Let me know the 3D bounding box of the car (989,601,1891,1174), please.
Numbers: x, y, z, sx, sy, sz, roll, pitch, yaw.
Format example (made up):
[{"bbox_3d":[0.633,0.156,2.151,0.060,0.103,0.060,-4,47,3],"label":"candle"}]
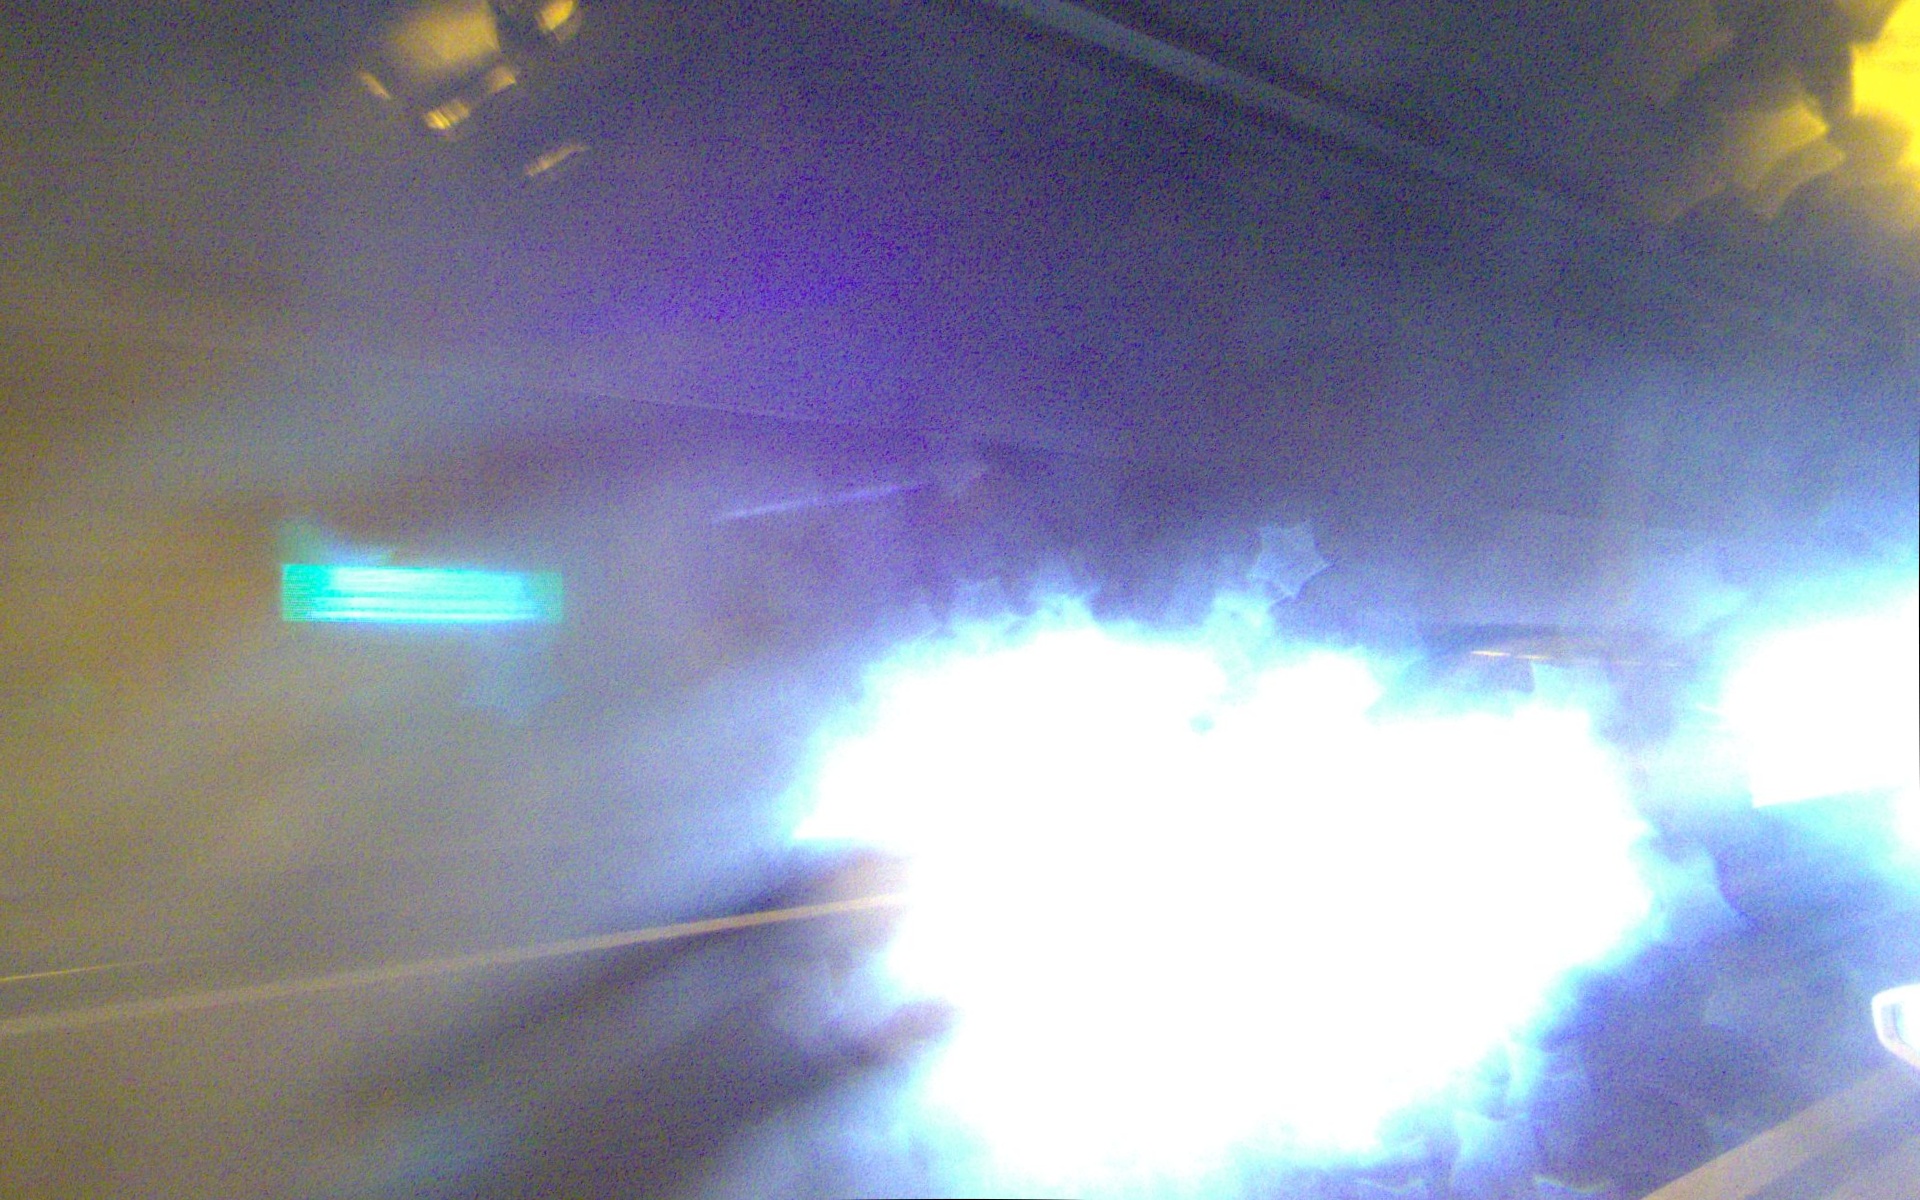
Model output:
[{"bbox_3d":[2.224,0.807,4.385,3.917,1.510,1.652,1,0,-31],"label":"car"}]
